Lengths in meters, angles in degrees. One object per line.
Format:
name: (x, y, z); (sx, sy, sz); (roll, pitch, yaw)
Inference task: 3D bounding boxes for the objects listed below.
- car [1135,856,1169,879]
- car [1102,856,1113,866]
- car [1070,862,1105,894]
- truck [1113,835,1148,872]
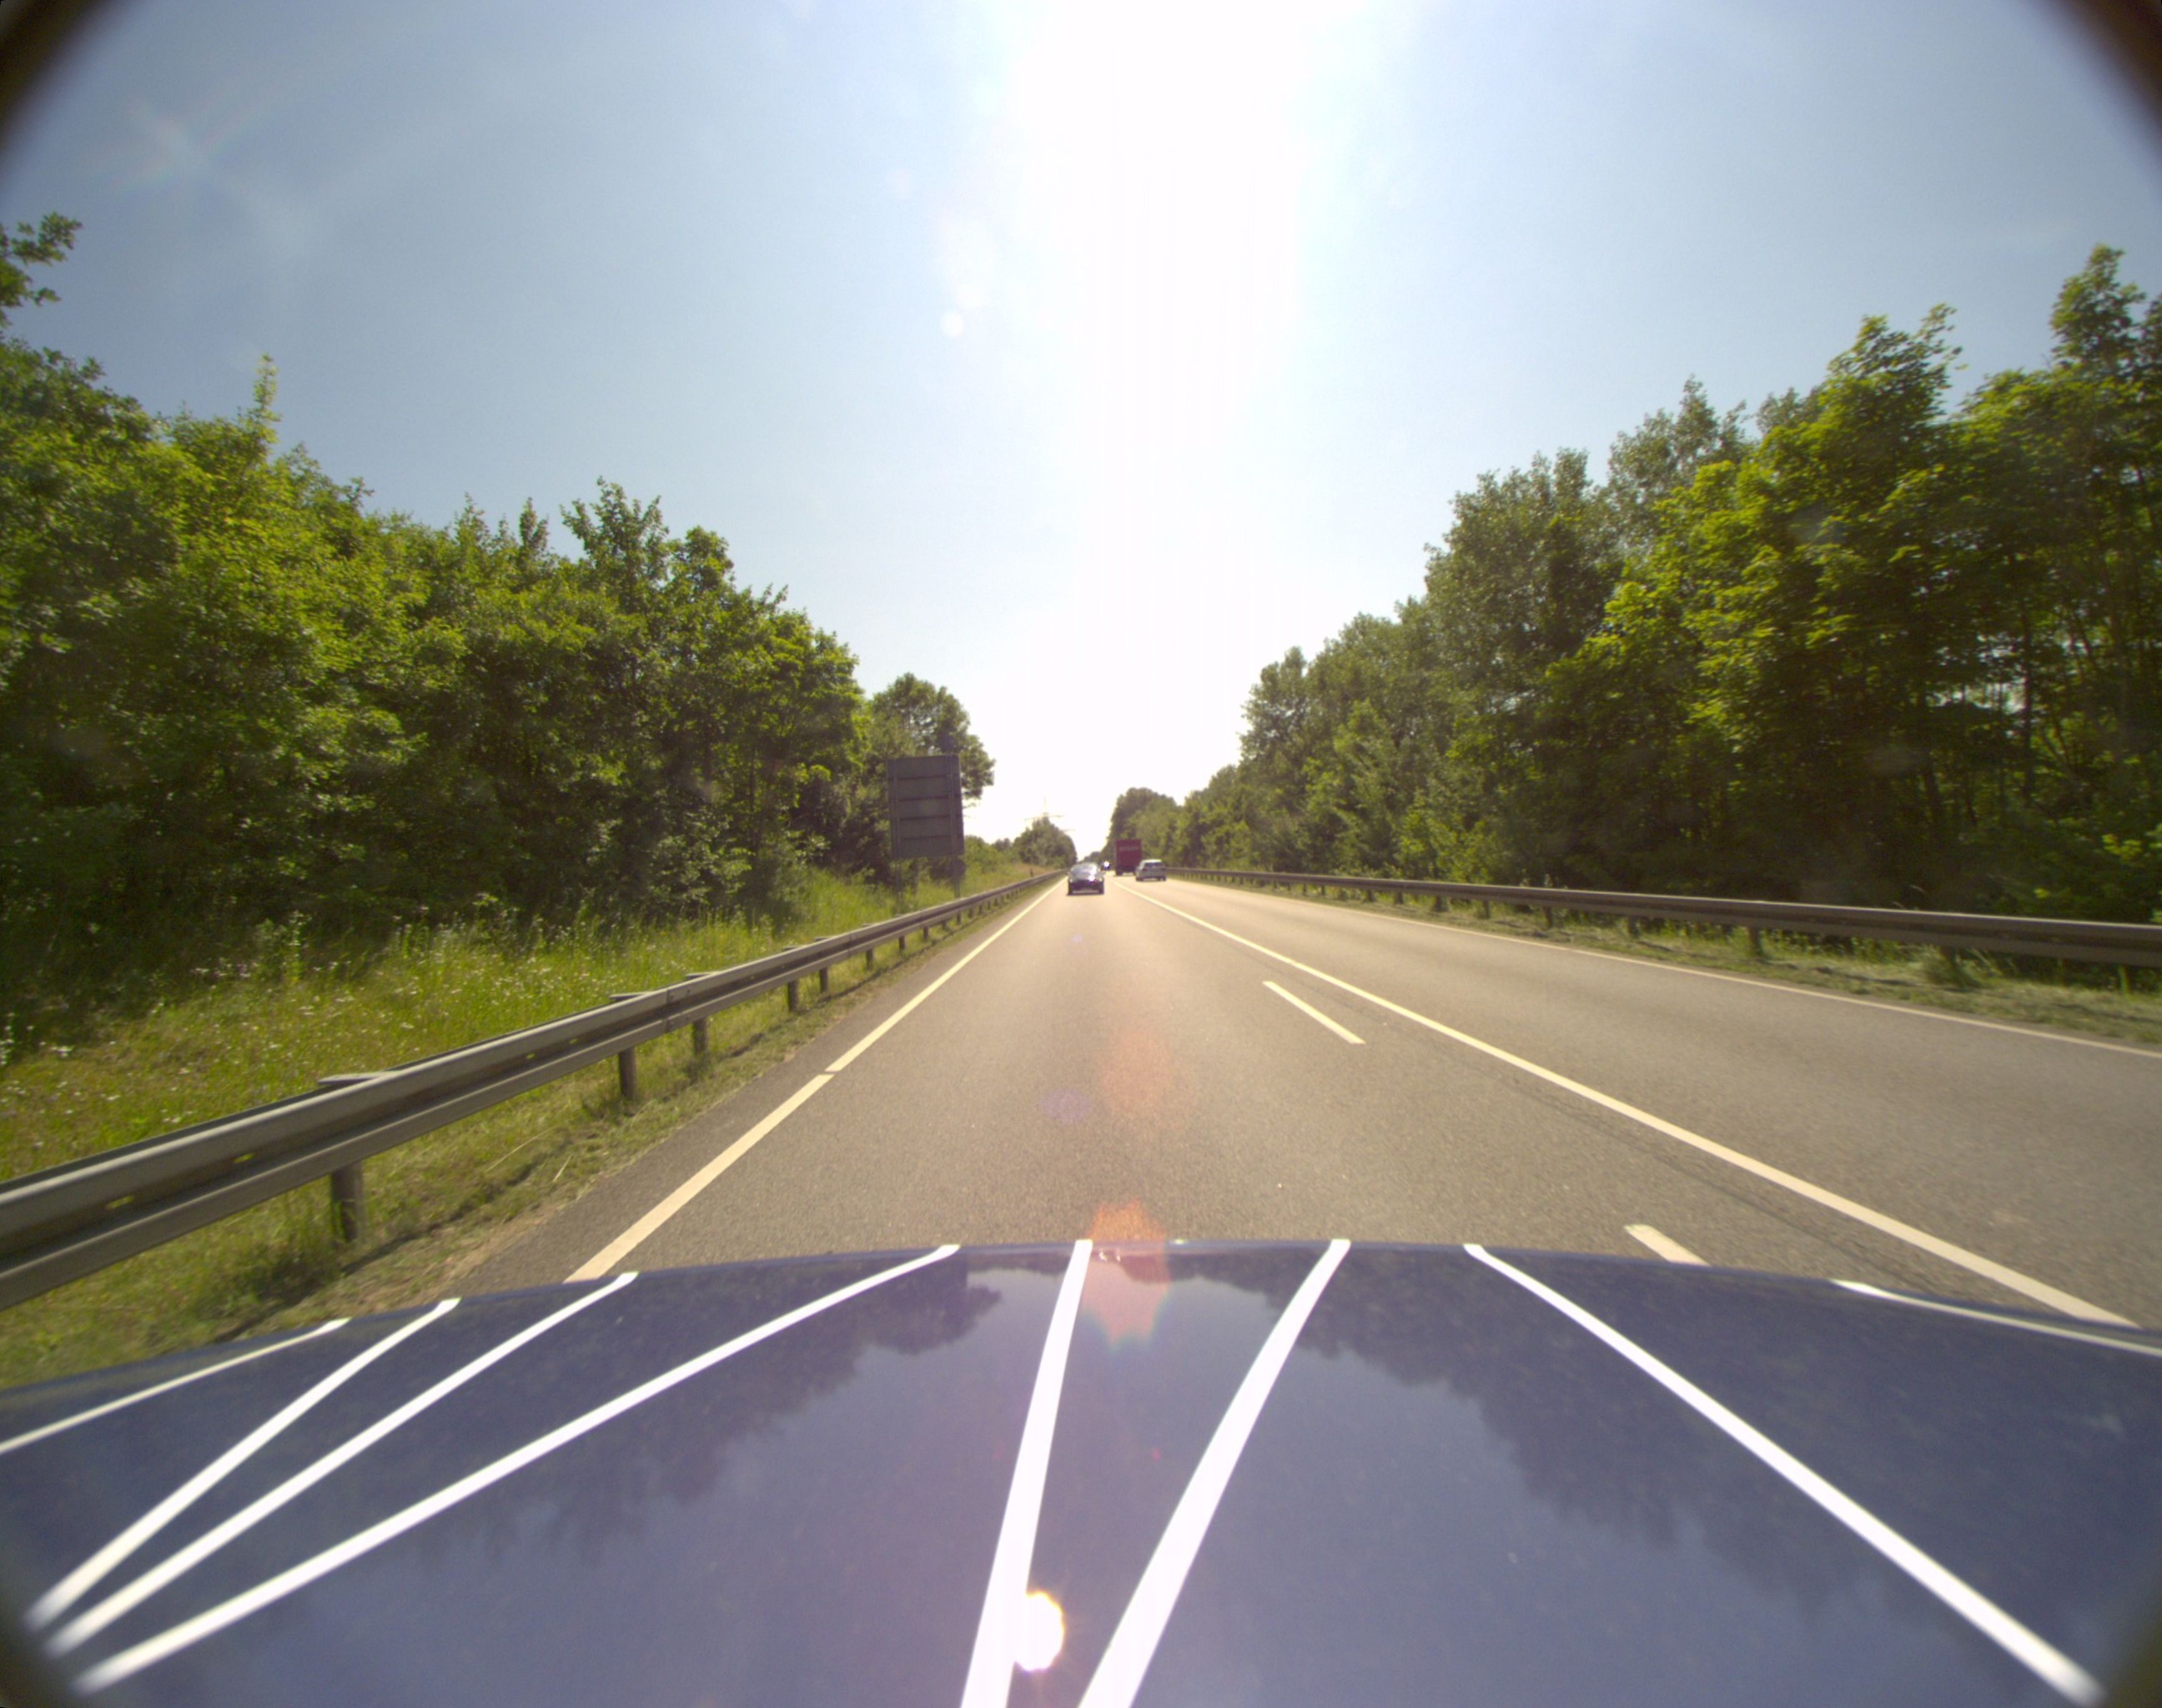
car: (5.003, 0.928, 53.860); (1.823, 1.537, 4.526); (-2, 0, -1)
car: (4.889, 1.344, 141.005); (1.762, 1.694, 4.000); (-2, 0, 0)
car: (0.290, 1.094, 35.605); (1.529, 1.387, 3.443); (-1, 0, 0)
truck: (5.175, -0.042, 80.806); (3.199, 3.678, 9.007); (-2, 0, 1)
